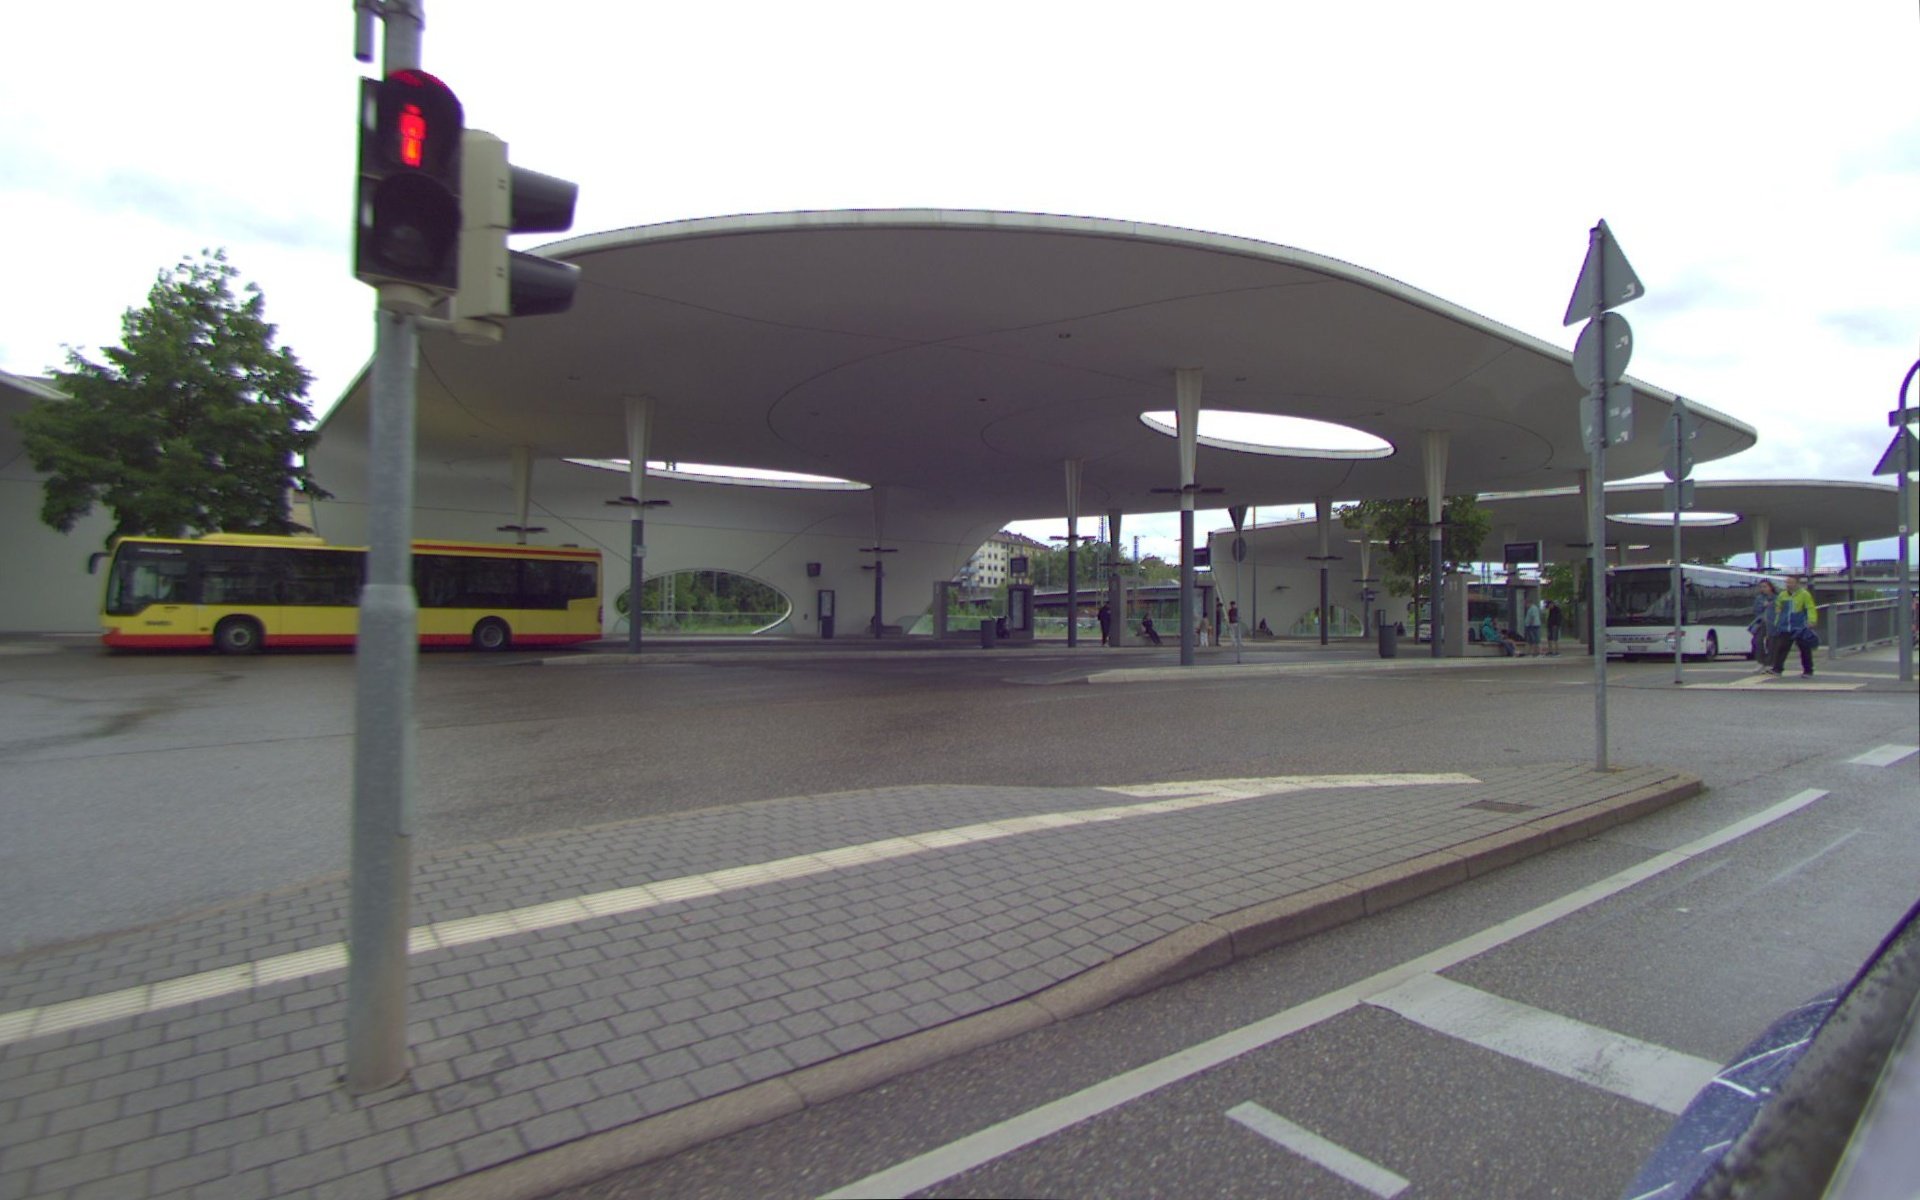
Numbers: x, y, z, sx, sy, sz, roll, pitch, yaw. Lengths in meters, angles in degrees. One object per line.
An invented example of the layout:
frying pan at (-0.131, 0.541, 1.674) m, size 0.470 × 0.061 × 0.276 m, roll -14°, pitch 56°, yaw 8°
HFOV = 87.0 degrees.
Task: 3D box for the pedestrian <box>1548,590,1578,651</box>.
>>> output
pedestrian at (19.639, 0.653, 32.979) m, size 0.640 × 1.928 × 0.583 m, roll 3°, pitch 0°, yaw 18°

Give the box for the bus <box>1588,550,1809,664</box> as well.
bus at (25.832, 0.232, 35.017) m, size 12.196 × 3.404 × 2.852 m, roll 0°, pitch 0°, yaw -37°

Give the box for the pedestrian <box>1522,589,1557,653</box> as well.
pedestrian at (17.908, 0.647, 31.286) m, size 0.635 × 1.910 × 0.587 m, roll 3°, pitch 0°, yaw -27°

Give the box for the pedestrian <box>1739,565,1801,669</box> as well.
pedestrian at (13.700, 0.287, 17.119) m, size 0.570 × 1.691 × 0.590 m, roll -4°, pitch 0°, yaw -37°

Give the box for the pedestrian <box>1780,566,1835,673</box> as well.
pedestrian at (13.788, 0.308, 16.466) m, size 0.570 × 1.691 × 0.524 m, roll -2°, pitch 0°, yaw -37°

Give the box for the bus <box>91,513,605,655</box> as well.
bus at (-16.382, -0.360, 28.354) m, size 11.921 × 3.299 × 2.795 m, roll 0°, pitch 0°, yaw -39°

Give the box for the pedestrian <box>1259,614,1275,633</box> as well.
pedestrian at (22.644, 1.735, 74.713) m, size 0.698 × 1.341 × 0.801 m, roll -3°, pitch -2°, yaw -32°

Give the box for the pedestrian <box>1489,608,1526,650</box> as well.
pedestrian at (17.406, 0.925, 32.174) m, size 0.945 × 1.271 × 0.642 m, roll 3°, pitch 0°, yaw 30°

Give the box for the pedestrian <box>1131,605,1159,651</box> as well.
pedestrian at (6.765, 1.013, 36.992) m, size 0.666 × 1.610 × 0.589 m, roll -3°, pitch -2°, yaw -41°

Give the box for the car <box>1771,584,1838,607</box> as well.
car at (82.640, -0.440, 99.051) m, size 2.077 × 1.993 × 4.678 m, roll 0°, pitch -2°, yaw -40°

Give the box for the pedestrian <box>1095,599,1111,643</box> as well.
pedestrian at (5.092, 0.741, 35.989) m, size 0.513 × 1.521 × 0.380 m, roll 0°, pitch -1°, yaw 14°

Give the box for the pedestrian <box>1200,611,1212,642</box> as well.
pedestrian at (9.234, 0.982, 38.010) m, size 0.357 × 1.159 × 0.395 m, roll 1°, pitch 0°, yaw 5°

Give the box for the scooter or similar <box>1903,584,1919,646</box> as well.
scooter or similar at (19.693, 0.302, 20.587) m, size 1.825 × 1.236 × 0.465 m, roll 0°, pitch 0°, yaw -38°

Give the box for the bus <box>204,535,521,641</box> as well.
bus at (-21.441, -0.367, 36.846) m, size 9.677 × 3.442 × 2.521 m, roll 1°, pitch 0°, yaw -39°

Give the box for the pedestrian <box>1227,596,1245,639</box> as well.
pedestrian at (10.971, 0.702, 40.225) m, size 0.633 × 1.675 × 0.637 m, roll 1°, pitch 0°, yaw 13°

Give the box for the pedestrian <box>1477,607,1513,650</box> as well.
pedestrian at (16.783, 0.886, 31.747) m, size 0.945 × 1.271 × 0.642 m, roll 3°, pitch 0°, yaw 30°

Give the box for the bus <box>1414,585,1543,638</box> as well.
bus at (34.627, 0.750, 67.287) m, size 11.916 × 3.299 × 2.796 m, roll 0°, pitch 0°, yaw -37°

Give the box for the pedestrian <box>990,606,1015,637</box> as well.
pedestrian at (1.879, 0.959, 45.115) m, size 0.785 × 1.341 × 0.712 m, roll -3°, pitch -2°, yaw -29°

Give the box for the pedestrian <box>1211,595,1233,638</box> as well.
pedestrian at (10.267, 0.649, 39.669) m, size 0.546 × 1.675 × 0.571 m, roll 1°, pitch 0°, yaw -31°

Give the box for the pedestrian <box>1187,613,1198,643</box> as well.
pedestrian at (8.752, 1.057, 38.082) m, size 0.346 × 1.094 × 0.392 m, roll 1°, pitch 0°, yaw 4°

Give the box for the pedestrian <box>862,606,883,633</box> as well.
pedestrian at (-4.682, 1.035, 53.997) m, size 0.786 × 1.341 × 0.711 m, roll -3°, pitch -2°, yaw -34°
